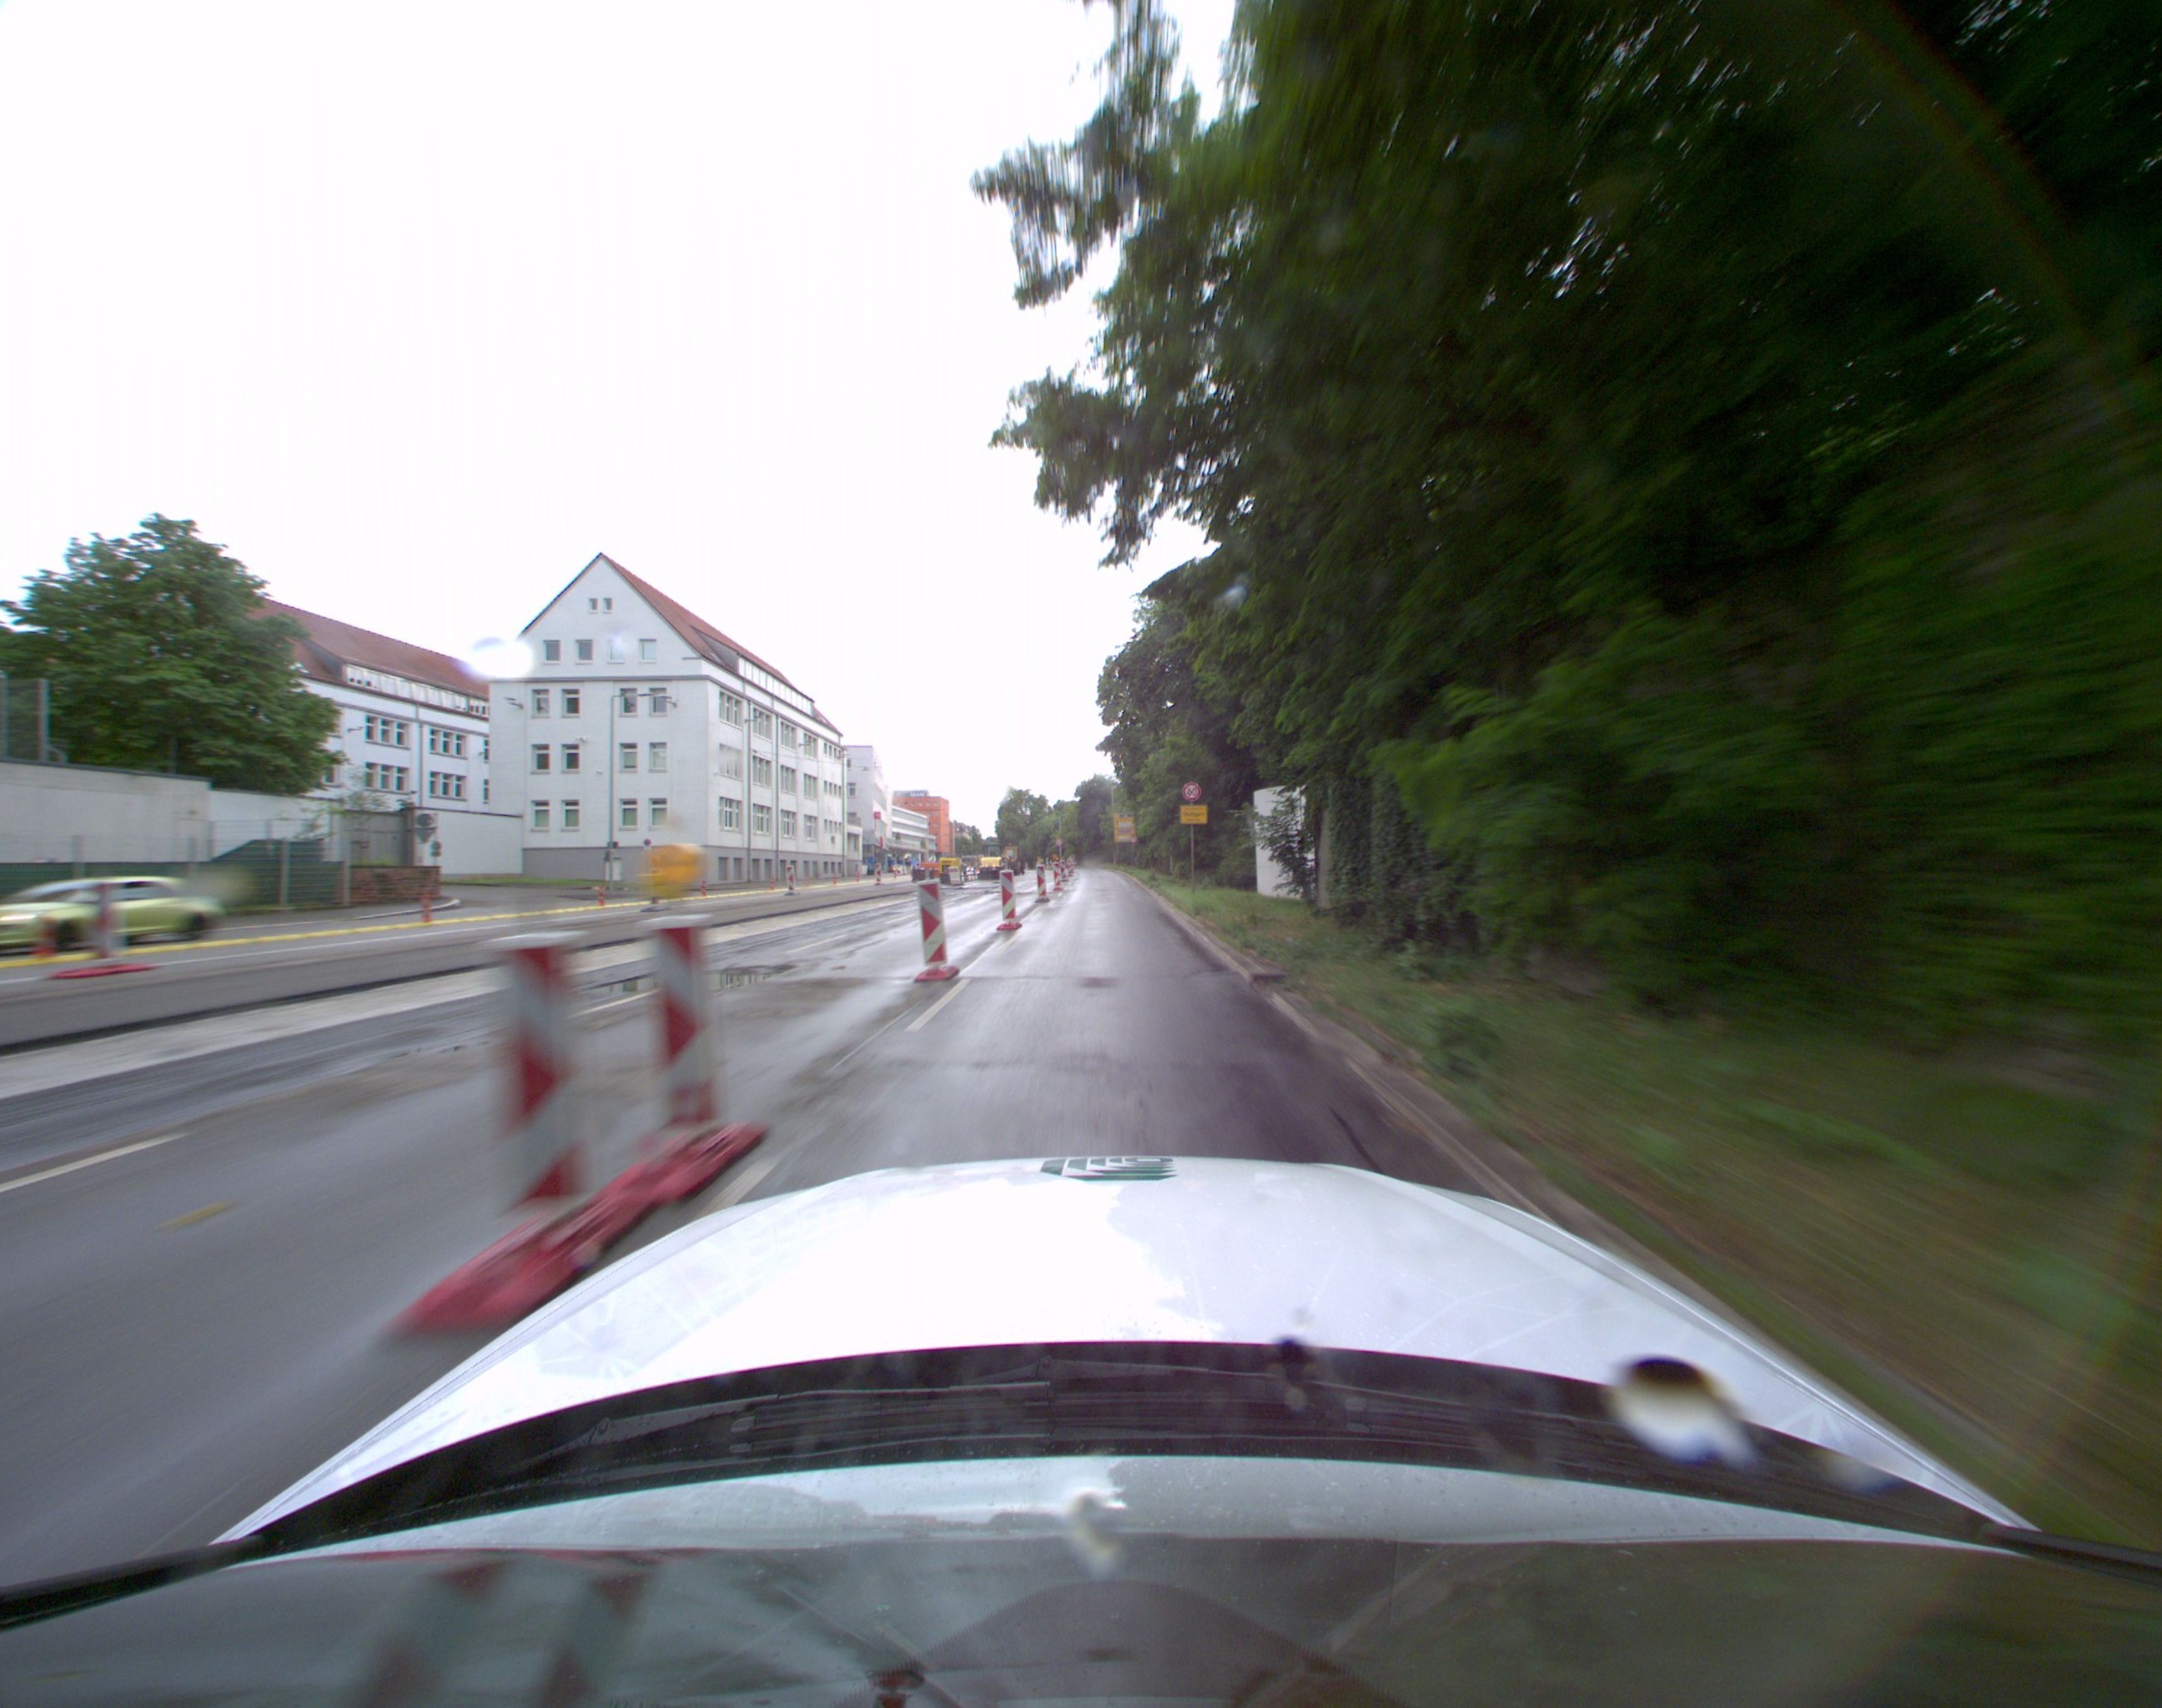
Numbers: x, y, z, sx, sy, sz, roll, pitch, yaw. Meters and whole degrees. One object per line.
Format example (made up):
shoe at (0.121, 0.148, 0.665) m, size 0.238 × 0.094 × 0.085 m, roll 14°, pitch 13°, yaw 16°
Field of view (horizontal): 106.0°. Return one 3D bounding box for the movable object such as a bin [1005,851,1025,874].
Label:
movable object such as a bin at (-6.478, 0.871, 80.620) m, size 1.711 × 2.150 × 3.347 m, roll -3°, pitch 0°, yaw -2°

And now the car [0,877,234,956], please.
car at (-20.491, 1.235, 17.013) m, size 1.548 × 1.368 × 3.805 m, roll -2°, pitch -1°, yaw 1°

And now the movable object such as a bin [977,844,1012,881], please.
movable object such as a bin at (-6.469, 0.619, 61.677) m, size 1.895 × 2.609 × 5.384 m, roll -1°, pitch 0°, yaw 1°

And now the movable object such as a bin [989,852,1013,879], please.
movable object such as a bin at (-6.568, 0.887, 67.063) m, size 1.357 × 2.090 × 5.031 m, roll -1°, pitch 0°, yaw 1°

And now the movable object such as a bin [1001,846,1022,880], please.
movable object such as a bin at (-6.472, 0.807, 76.278) m, size 1.461 × 3.008 × 3.723 m, roll -3°, pitch 0°, yaw 0°

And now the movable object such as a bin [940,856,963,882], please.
movable object such as a bin at (-8.456, 0.985, 53.170) m, size 1.079 × 1.644 × 2.439 m, roll -1°, pitch 0°, yaw 1°
